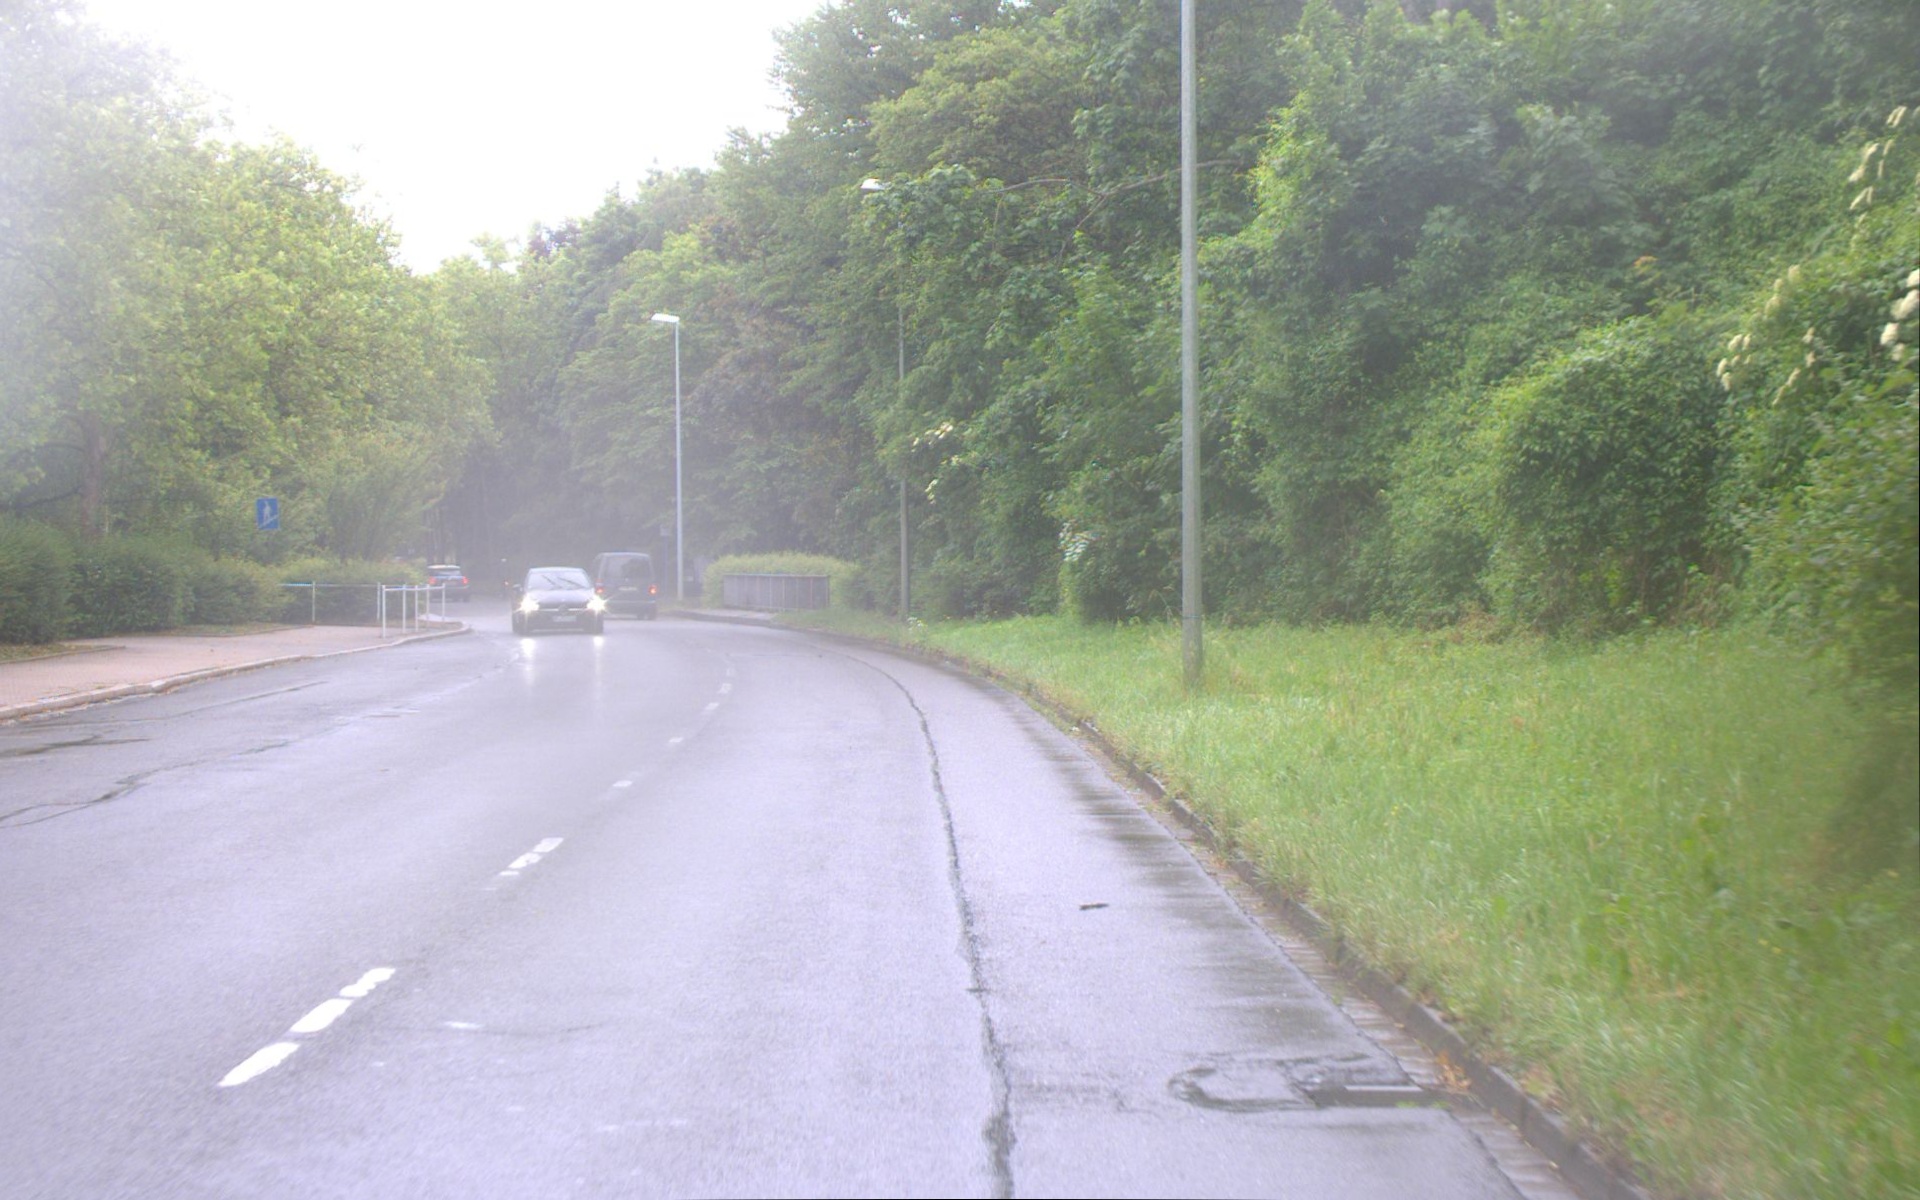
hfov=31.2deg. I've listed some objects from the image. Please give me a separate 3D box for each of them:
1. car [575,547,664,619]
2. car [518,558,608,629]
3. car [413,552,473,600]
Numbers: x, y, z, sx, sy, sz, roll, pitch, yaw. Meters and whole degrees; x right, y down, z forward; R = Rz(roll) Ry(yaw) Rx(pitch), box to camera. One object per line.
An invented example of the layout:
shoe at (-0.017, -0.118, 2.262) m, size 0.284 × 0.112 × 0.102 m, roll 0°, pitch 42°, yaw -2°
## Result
car at (-9.349, -0.478, 94.175) m, size 1.985 × 1.919 × 4.001 m, roll 0°, pitch 1°, yaw -12°
car at (-8.550, -0.152, 74.276) m, size 1.826 × 1.460 × 4.001 m, roll -1°, pitch 0°, yaw -5°
car at (-20.335, -0.956, 135.205) m, size 1.993 × 1.809 × 4.001 m, roll 1°, pitch 0°, yaw -13°
